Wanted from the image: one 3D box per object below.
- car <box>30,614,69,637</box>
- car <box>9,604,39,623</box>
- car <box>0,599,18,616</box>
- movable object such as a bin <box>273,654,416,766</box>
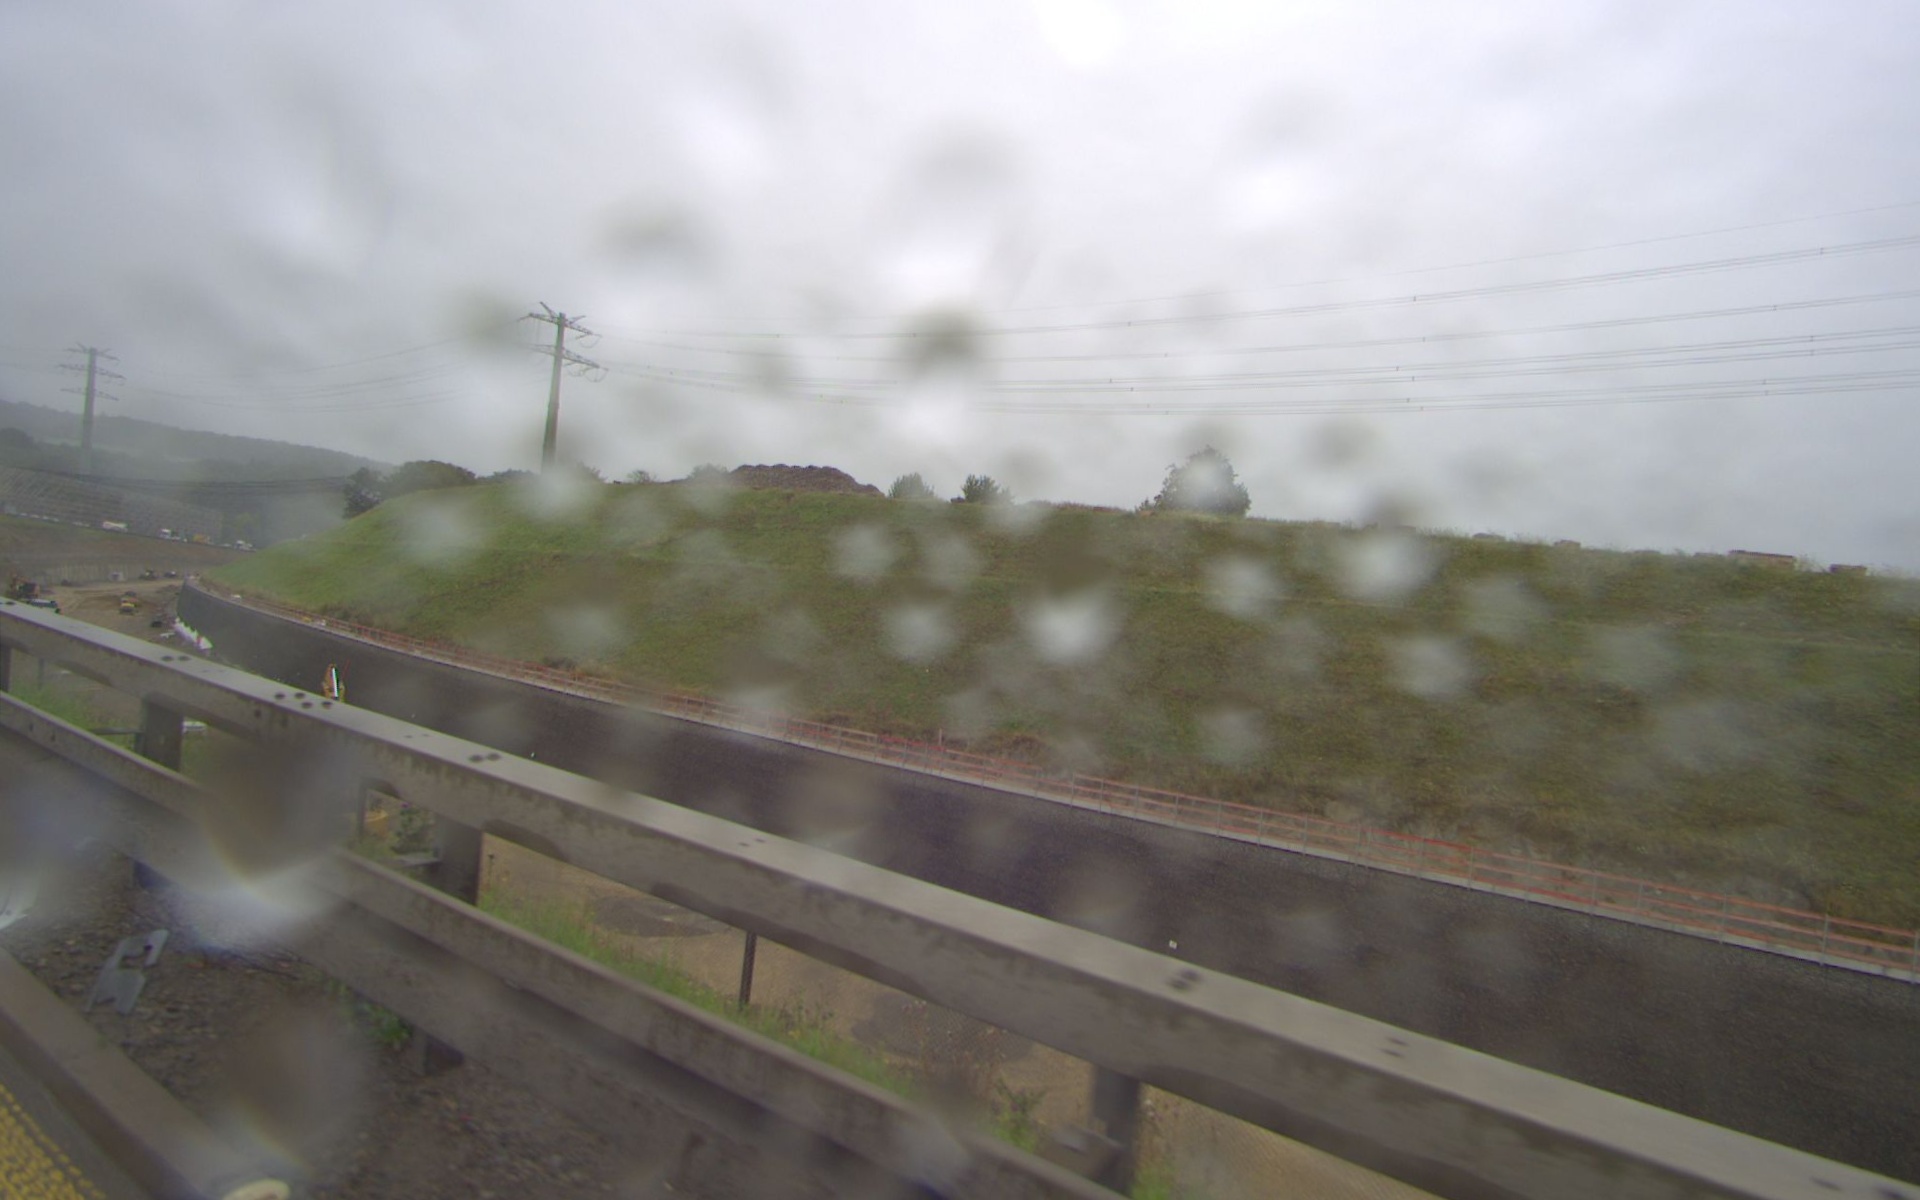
[{"bbox_3d":[-105.359,2.912,116.419,3.937,2.036,2.368,7,-2,35],"label":"car"},{"bbox_3d":[-118.702,1.751,127.584,3.939,1.837,1.994,6,-2,37],"label":"car"},{"bbox_3d":[-141.605,1.091,149.485,1.988,2.036,3.953,9,-2,-42],"label":"car"},{"bbox_3d":[-26.034,4.642,42.579,4.054,3.910,3.222,8,-2,32],"label":"movable object such as a bin"}]
